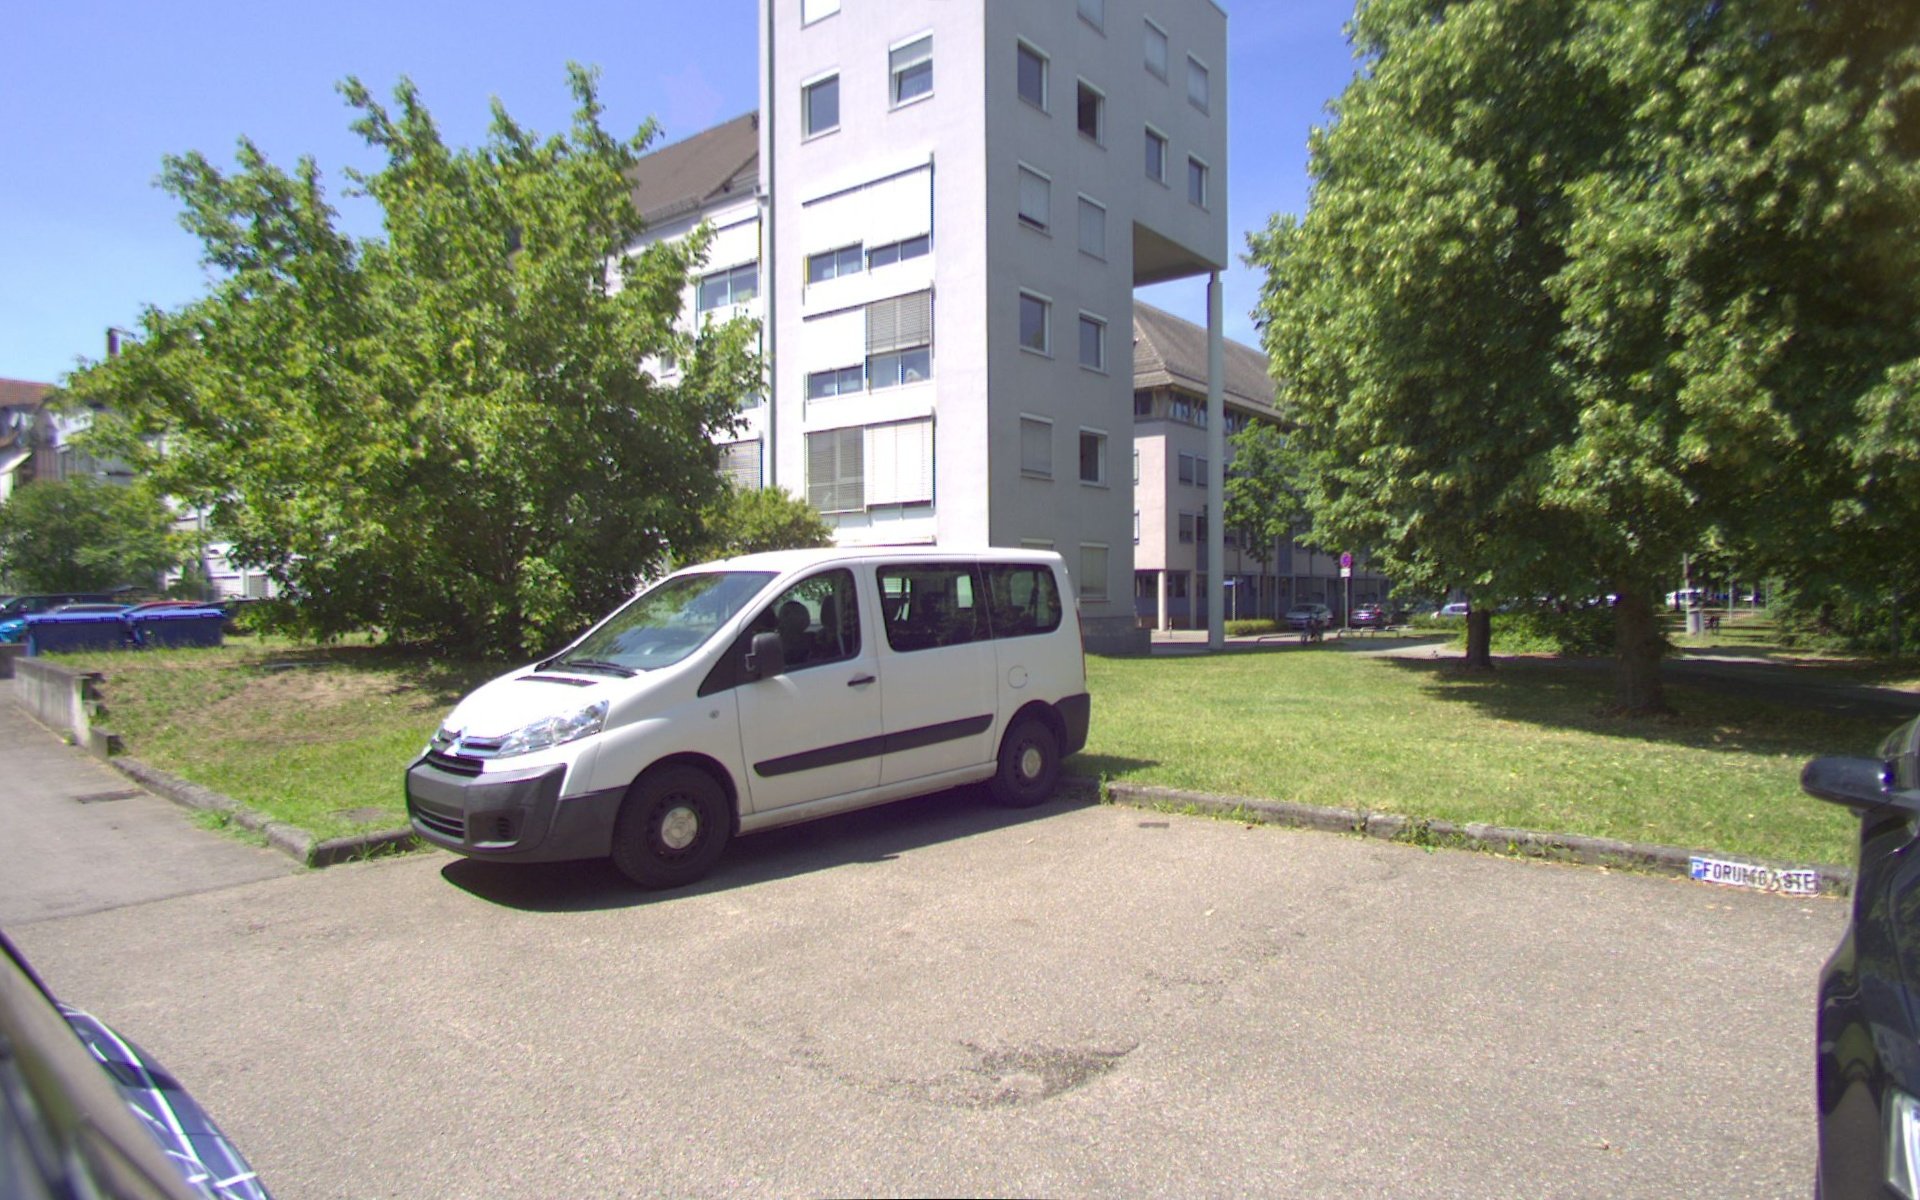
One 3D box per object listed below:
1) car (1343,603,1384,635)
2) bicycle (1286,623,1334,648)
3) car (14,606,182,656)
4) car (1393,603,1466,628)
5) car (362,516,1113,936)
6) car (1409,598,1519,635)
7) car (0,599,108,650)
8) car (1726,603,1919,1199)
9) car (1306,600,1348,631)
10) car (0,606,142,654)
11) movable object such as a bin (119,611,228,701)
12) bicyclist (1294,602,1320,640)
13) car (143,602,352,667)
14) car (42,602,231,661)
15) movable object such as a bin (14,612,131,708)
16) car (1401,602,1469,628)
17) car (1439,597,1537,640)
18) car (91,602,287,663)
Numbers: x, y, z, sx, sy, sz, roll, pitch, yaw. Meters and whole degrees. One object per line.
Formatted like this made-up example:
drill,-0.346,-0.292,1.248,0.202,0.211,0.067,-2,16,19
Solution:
car,22.005,1.010,55.149,1.799,1.615,3.860,0,0,26
bicycle,10.103,1.017,29.202,0.734,0.646,1.594,-4,-2,42
car,-29.645,1.016,34.922,1.610,1.580,4.174,0,0,36
car,30.355,0.992,65.487,3.996,1.541,1.723,0,0,40
car,-1.165,0.548,7.037,2.068,1.897,4.794,0,1,43
car,23.579,0.743,47.438,4.337,1.622,1.908,0,0,39
car,-34.925,0.890,37.978,2.006,1.837,4.174,0,0,36
car,3.261,0.692,2.221,2.024,1.390,4.380,-3,-2,43
car,20.738,0.836,57.114,1.799,1.615,3.860,0,0,26
car,-32.327,1.027,36.493,1.610,1.580,4.174,0,0,36
movable object such as a bin,-13.113,0.891,16.879,1.095,1.399,1.255,0,0,41
bicyclist,9.975,0.596,29.079,0.518,1.053,0.515,-4,-3,43
car,-19.289,0.870,27.600,1.610,1.580,4.393,0,0,36
car,-24.719,0.888,30.508,1.610,1.580,4.174,0,0,36
movable object such as a bin,-13.934,0.900,15.894,1.095,1.399,1.255,0,0,41
car,31.825,0.992,67.879,3.891,1.643,1.514,0,0,40
car,26.141,0.868,50.148,3.996,2.029,1.974,0,0,39
car,-21.822,0.864,28.807,1.610,1.580,4.174,0,0,36
